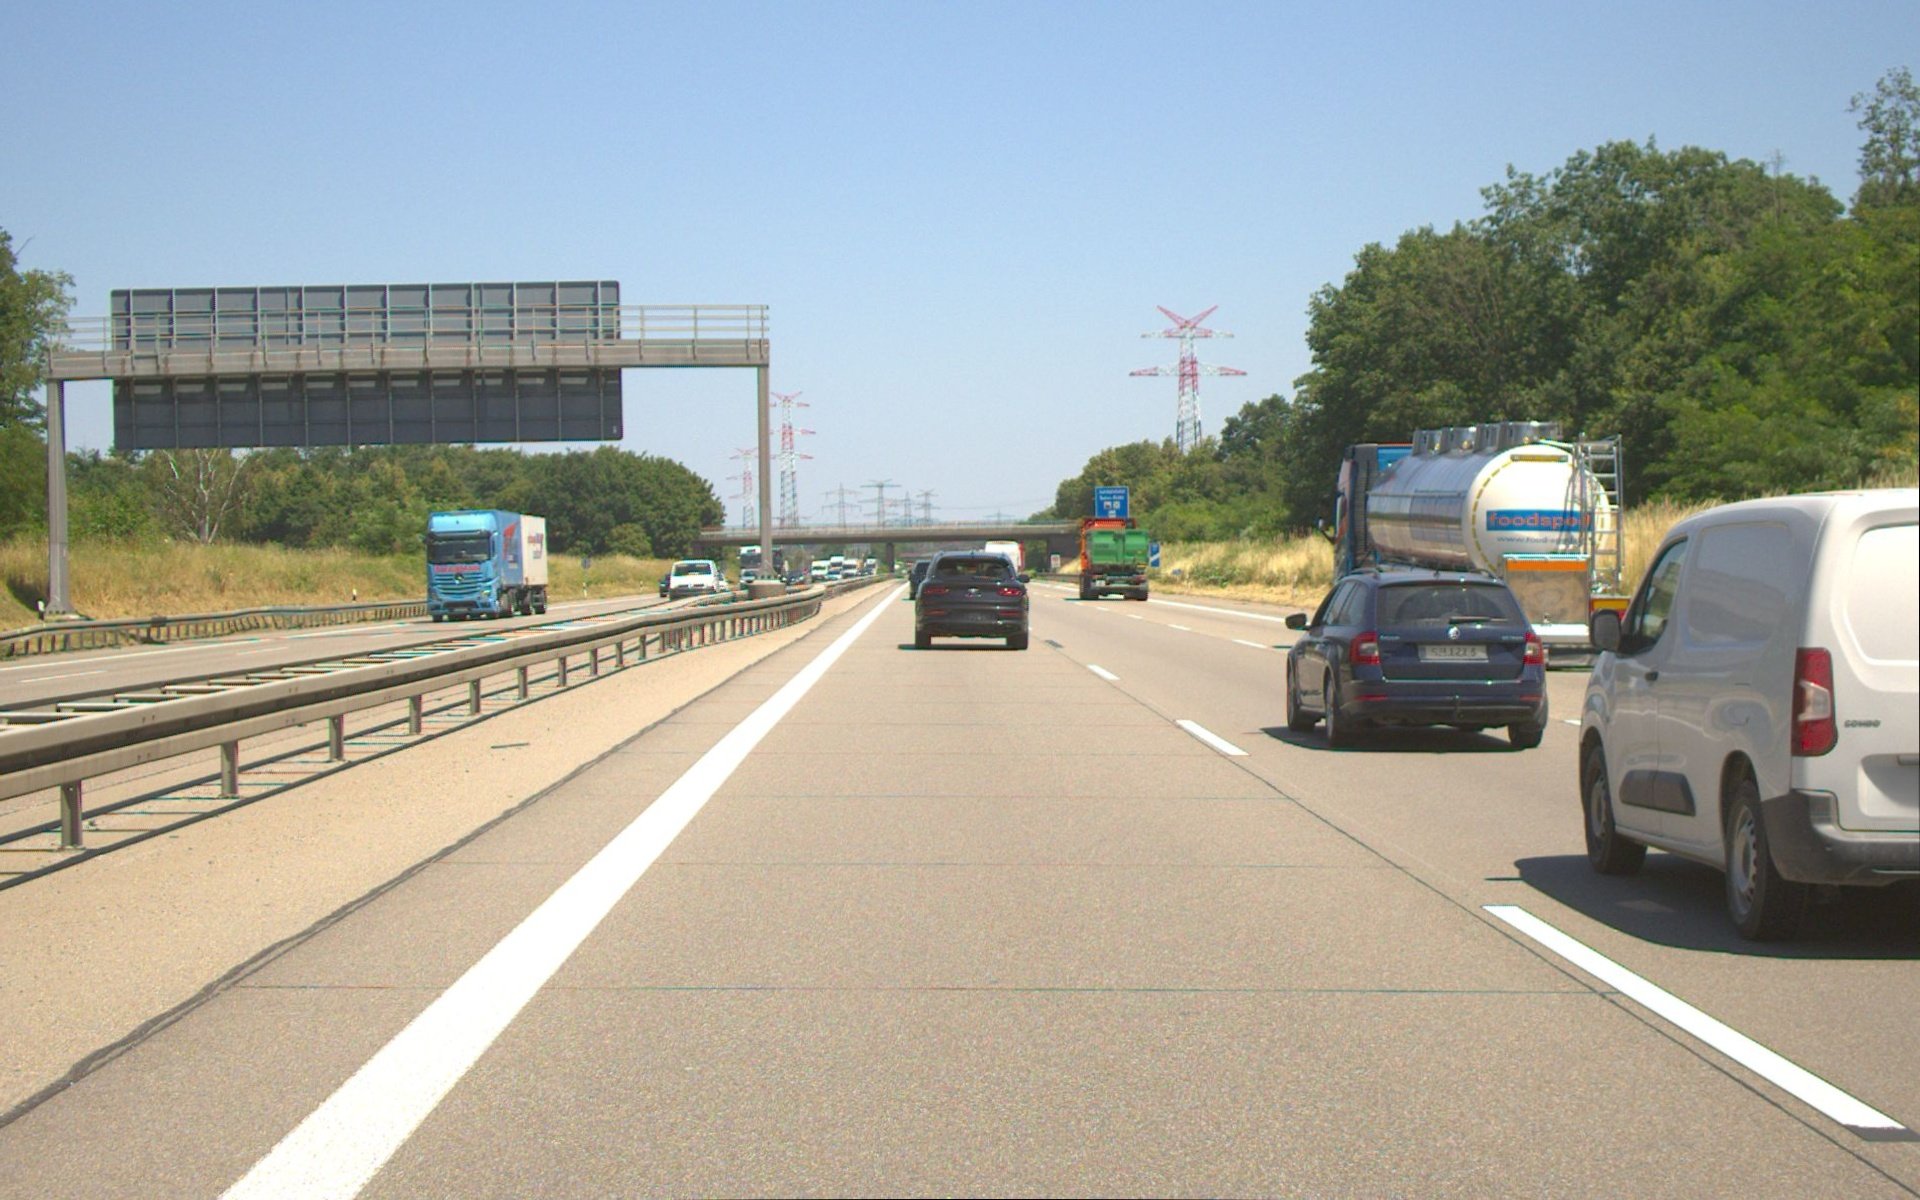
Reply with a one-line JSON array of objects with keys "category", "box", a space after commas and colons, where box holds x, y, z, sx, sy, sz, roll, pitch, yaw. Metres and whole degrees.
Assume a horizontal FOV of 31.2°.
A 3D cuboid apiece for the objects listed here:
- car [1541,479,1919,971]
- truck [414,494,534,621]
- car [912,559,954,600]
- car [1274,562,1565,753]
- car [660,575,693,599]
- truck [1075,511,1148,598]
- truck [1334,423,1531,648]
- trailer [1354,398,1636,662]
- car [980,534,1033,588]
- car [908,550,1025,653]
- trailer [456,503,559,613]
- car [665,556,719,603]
[{"category": "car", "box": [3.955, 0.446, 15.168, 1.866, 1.811, 4.941, 1, 1, -1]}, {"category": "truck", "box": [-18.341, -1.623, 130.345, 3.058, 4.543, 10.459, -1, 1, 0]}, {"category": "car", "box": [-1.183, -0.905, 149.546, 1.794, 1.744, 4.000, 1, 1, -1]}, {"category": "car", "box": [3.809, 0.434, 29.178, 1.801, 1.478, 4.272, 1, 1, -1]}, {"category": "car", "box": [-19.244, -0.870, 233.528, 1.831, 1.548, 4.950, -2, 1, -1]}, {"category": "truck", "box": [6.825, -2.060, 156.400, 2.681, 3.785, 12.478, 1, 1, 0]}, {"category": "truck", "box": [8.216, -1.109, 60.437, 2.529, 3.721, 6.099, 1, 1, 0]}, {"category": "trailer", "box": [8.269, -1.051, 54.647, 2.529, 3.721, 11.549, 1, 1, 0]}, {"category": "car", "box": [2.419, -2.063, 181.170, 2.621, 2.750, 6.096, 1, 1, 0]}, {"category": "car", "box": [0.093, -0.001, 61.127, 1.993, 1.744, 4.000, 1, 1, -1]}, {"category": "trailer", "box": [-18.449, -1.720, 140.807, 3.058, 4.268, 8.635, -1, 1, 0]}, {"category": "car", "box": [-10.970, -0.861, 141.089, 1.831, 1.848, 5.237, -2, 1, -1]}]
